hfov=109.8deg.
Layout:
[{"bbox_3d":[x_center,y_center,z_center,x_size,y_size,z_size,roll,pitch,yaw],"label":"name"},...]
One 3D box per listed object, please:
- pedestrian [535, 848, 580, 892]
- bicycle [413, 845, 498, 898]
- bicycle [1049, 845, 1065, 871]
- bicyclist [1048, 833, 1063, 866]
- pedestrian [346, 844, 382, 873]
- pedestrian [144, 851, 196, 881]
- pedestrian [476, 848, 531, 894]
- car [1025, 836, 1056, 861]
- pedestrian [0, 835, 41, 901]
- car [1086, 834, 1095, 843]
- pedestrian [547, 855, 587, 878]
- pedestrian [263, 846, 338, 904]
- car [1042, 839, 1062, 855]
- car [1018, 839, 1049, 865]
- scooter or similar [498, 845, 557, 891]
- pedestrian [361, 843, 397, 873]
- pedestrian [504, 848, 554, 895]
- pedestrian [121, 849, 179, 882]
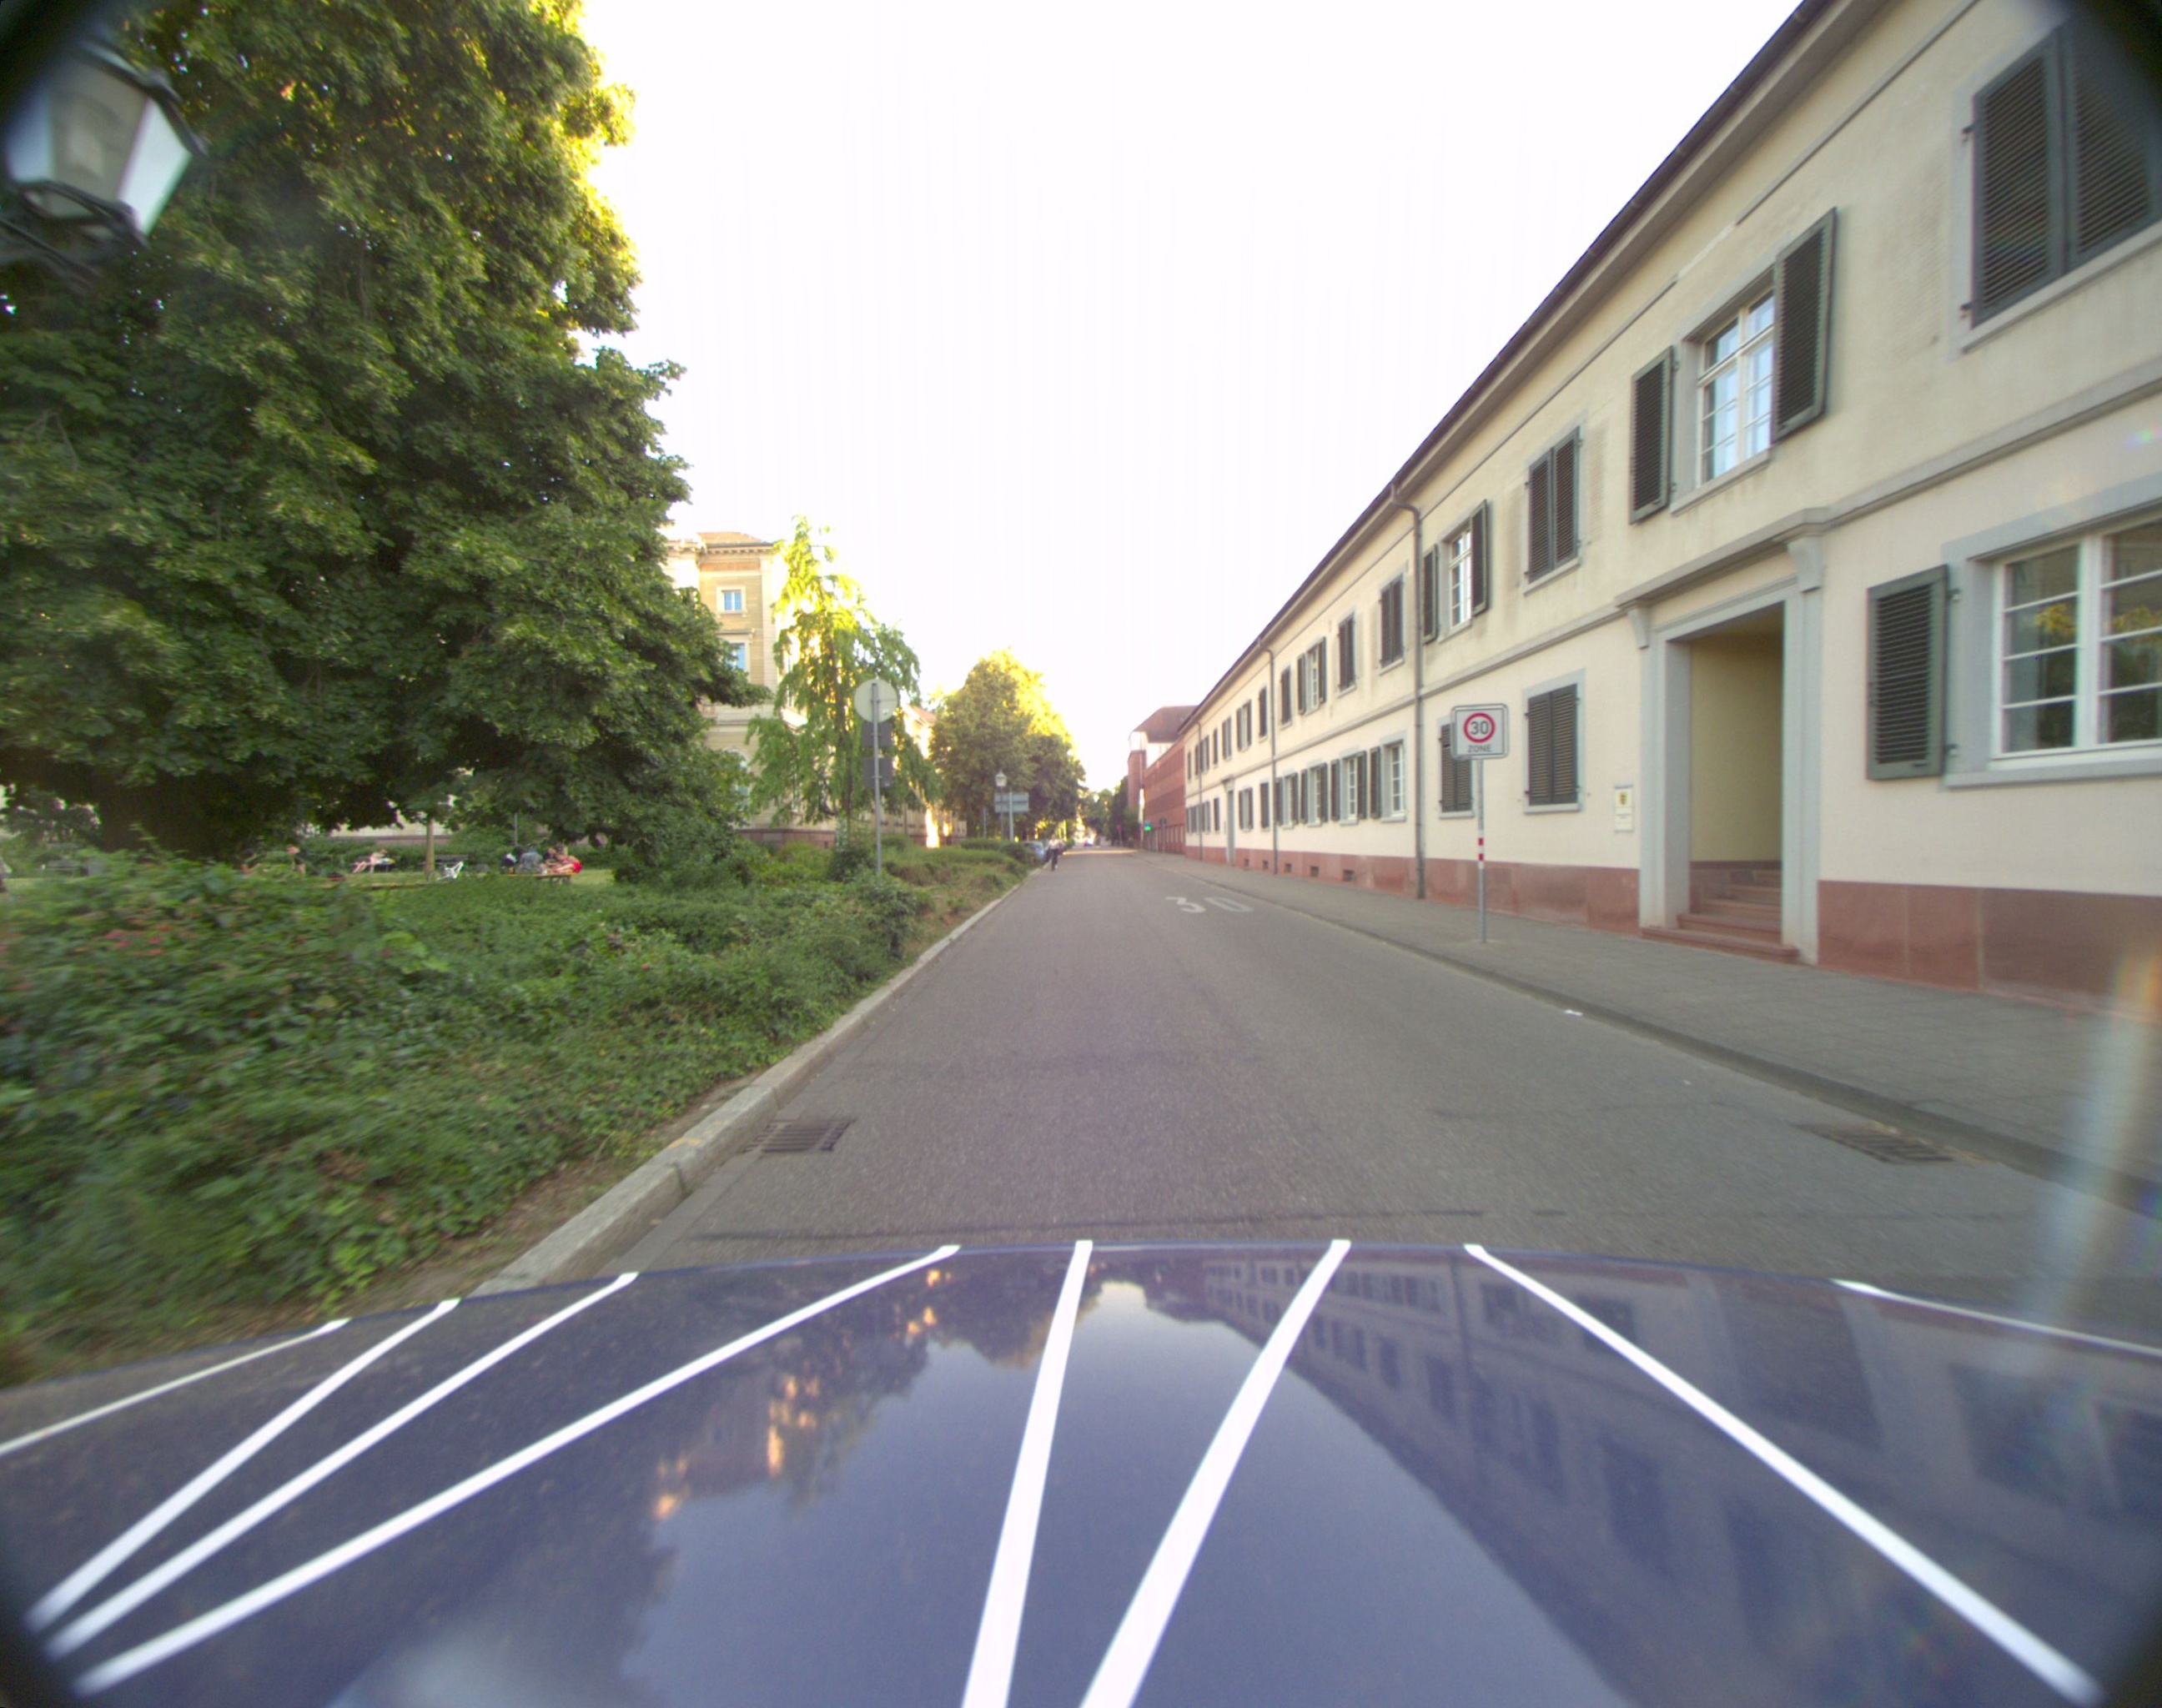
[{"bbox_3d":[-14.606,0.419,21.215,0.663,1.185,0.796,1,2,28],"label":"pedestrian"},{"bbox_3d":[-16.346,0.432,19.927,0.621,1.292,2.017,-1,2,-4],"label":"bicycle"},{"bbox_3d":[-1.208,0.166,37.587,0.753,1.245,2.209,0,1,-2],"label":"bicycle"},{"bbox_3d":[-1.269,-0.210,37.594,0.753,1.603,1.038,0,1,-2],"label":"bicyclist"},{"bbox_3d":[-34.738,0.211,36.806,0.695,1.389,1.044,0,2,0],"label":"pedestrian"},{"bbox_3d":[-43.865,0.572,36.610,0.695,1.389,1.452,0,2,1],"label":"pedestrian"},{"bbox_3d":[-15.183,0.437,19.991,0.808,1.185,0.789,0,2,3],"label":"pedestrian"},{"bbox_3d":[-2.862,-0.451,54.270,1.728,1.642,4.712,0,2,3],"label":"car"},{"bbox_3d":[-28.750,0.370,20.302,0.773,1.737,0.758,-1,2,-3],"label":"pedestrian"},{"bbox_3d":[2.228,-3.703,179.771,1.998,1.863,5.109,-1,-1,1],"label":"car"},{"bbox_3d":[-13.939,0.333,20.631,0.542,0.546,1.375,2,1,-19],"label":"pedestrian"},{"bbox_3d":[-18.993,0.493,18.515,0.920,1.340,0.883,-1,2,-15],"label":"pedestrian"},{"bbox_3d":[-2.887,-0.739,76.681,1.739,1.498,4.520,3,2,0],"label":"car"},{"bbox_3d":[-2.977,-0.136,48.530,1.728,1.480,4.608,3,1,-1],"label":"car"},{"bbox_3d":[-15.423,0.389,21.200,1.221,1.238,0.417,-1,2,-16],"label":"scooter or similar"},{"bbox_3d":[-33.855,0.179,36.663,0.695,1.389,1.044,0,2,0],"label":"pedestrian"},{"bbox_3d":[-14.407,0.443,19.851,0.724,1.185,0.747,0,2,3],"label":"pedestrian"},{"bbox_3d":[-44.955,0.534,36.705,0.802,1.547,1.567,0,2,1],"label":"pedestrian"}]
